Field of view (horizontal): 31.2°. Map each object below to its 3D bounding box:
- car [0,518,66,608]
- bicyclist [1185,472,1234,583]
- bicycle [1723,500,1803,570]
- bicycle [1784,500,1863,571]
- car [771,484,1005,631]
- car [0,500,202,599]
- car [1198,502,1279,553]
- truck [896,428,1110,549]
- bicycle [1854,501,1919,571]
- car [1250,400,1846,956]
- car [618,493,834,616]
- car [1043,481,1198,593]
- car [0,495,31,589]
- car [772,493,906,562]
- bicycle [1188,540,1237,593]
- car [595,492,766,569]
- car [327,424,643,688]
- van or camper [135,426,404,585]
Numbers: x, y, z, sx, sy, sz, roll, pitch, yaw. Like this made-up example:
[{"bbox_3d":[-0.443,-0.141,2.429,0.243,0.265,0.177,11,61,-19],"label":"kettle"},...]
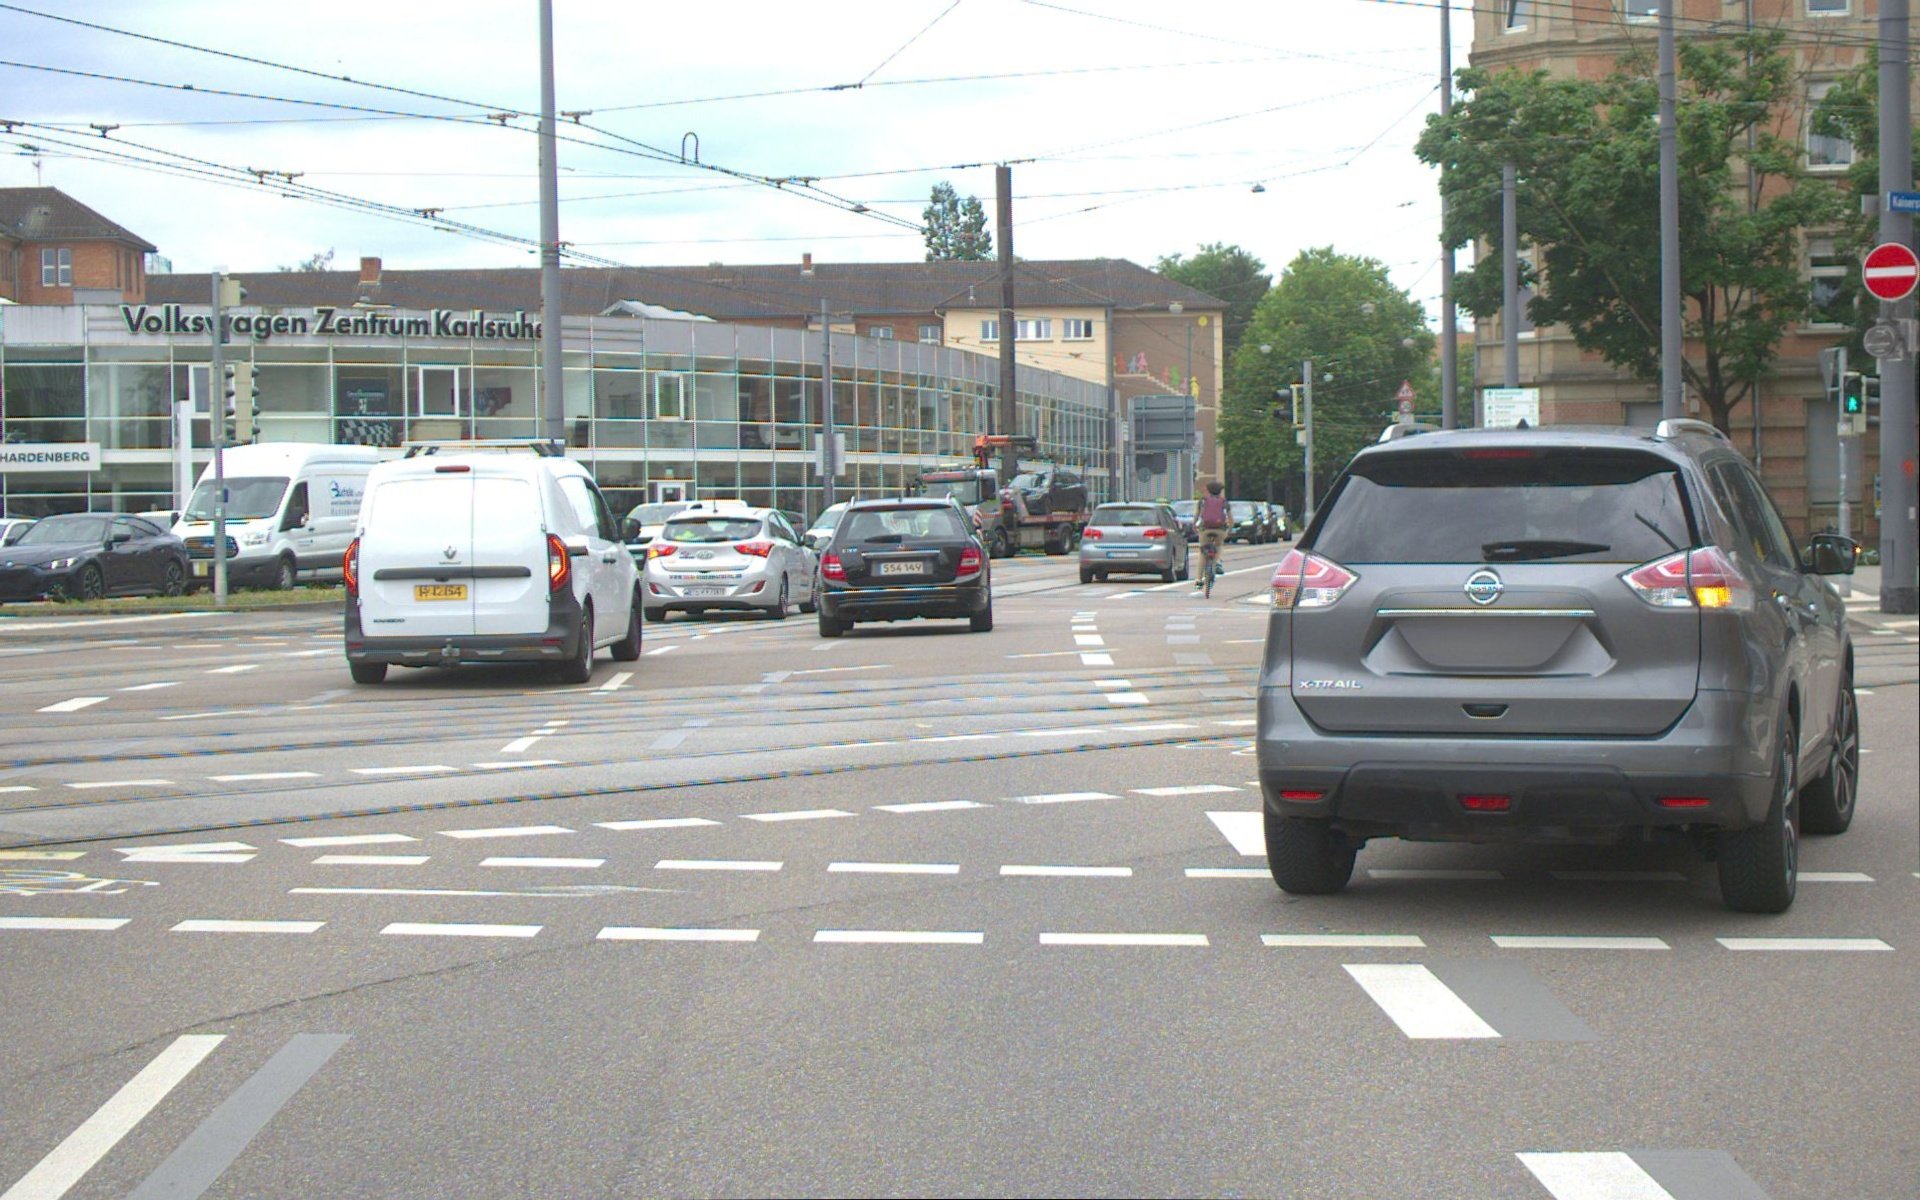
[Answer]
[{"bbox_3d":[-15.914,-0.593,55.058,1.636,1.415,3.736,0,2,11],"label":"car"},{"bbox_3d":[3.893,-1.132,53.664,0.687,1.702,0.798,-1,1,-1],"label":"bicyclist"},{"bbox_3d":[15.924,-1.288,68.114,0.959,1.349,3.117,1,1,24],"label":"bicycle"},{"bbox_3d":[17.027,-1.270,67.742,0.959,1.349,3.117,1,1,24],"label":"bicycle"},{"bbox_3d":[-0.683,-0.468,35.700,1.994,1.415,4.000,-1,1,5],"label":"car"},{"bbox_3d":[-13.363,-0.790,52.068,1.994,1.415,4.660,0,2,11],"label":"car"},{"bbox_3d":[10.404,-2.719,128.244,1.995,1.832,4.519,0,2,18],"label":"car"},{"bbox_3d":[1.413,-3.338,104.886,2.798,3.537,9.211,1,1,26],"label":"truck"},{"bbox_3d":[18.277,-1.251,67.342,0.959,1.349,3.117,1,1,24],"label":"bicycle"},{"bbox_3d":[2.354,0.190,12.932,1.751,1.750,3.921,0,2,17],"label":"car"},{"bbox_3d":[-2.969,-0.597,44.428,1.854,1.503,3.998,1,1,10],"label":"car"},{"bbox_3d":[3.012,-1.175,63.791,1.995,2.007,3.997,1,1,16],"label":"car"},{"bbox_3d":[-22.740,-1.276,74.172,4.768,2.007,2.120,1,1,11],"label":"car"},{"bbox_3d":[-3.312,-2.023,95.212,1.996,1.832,4.518,0,2,23],"label":"car"},{"bbox_3d":[3.930,-0.529,53.618,0.619,0.791,1.592,-1,1,-1],"label":"bicycle"},{"bbox_3d":[-6.927,-1.747,85.866,2.159,1.850,5.442,0,2,20],"label":"car"},{"bbox_3d":[-3.695,-0.377,27.443,1.912,1.933,4.131,0,1,0],"label":"car"},{"bbox_3d":[-11.842,-1.616,59.492,2.416,2.602,6.049,1,1,11],"label":"van or camper"}]
